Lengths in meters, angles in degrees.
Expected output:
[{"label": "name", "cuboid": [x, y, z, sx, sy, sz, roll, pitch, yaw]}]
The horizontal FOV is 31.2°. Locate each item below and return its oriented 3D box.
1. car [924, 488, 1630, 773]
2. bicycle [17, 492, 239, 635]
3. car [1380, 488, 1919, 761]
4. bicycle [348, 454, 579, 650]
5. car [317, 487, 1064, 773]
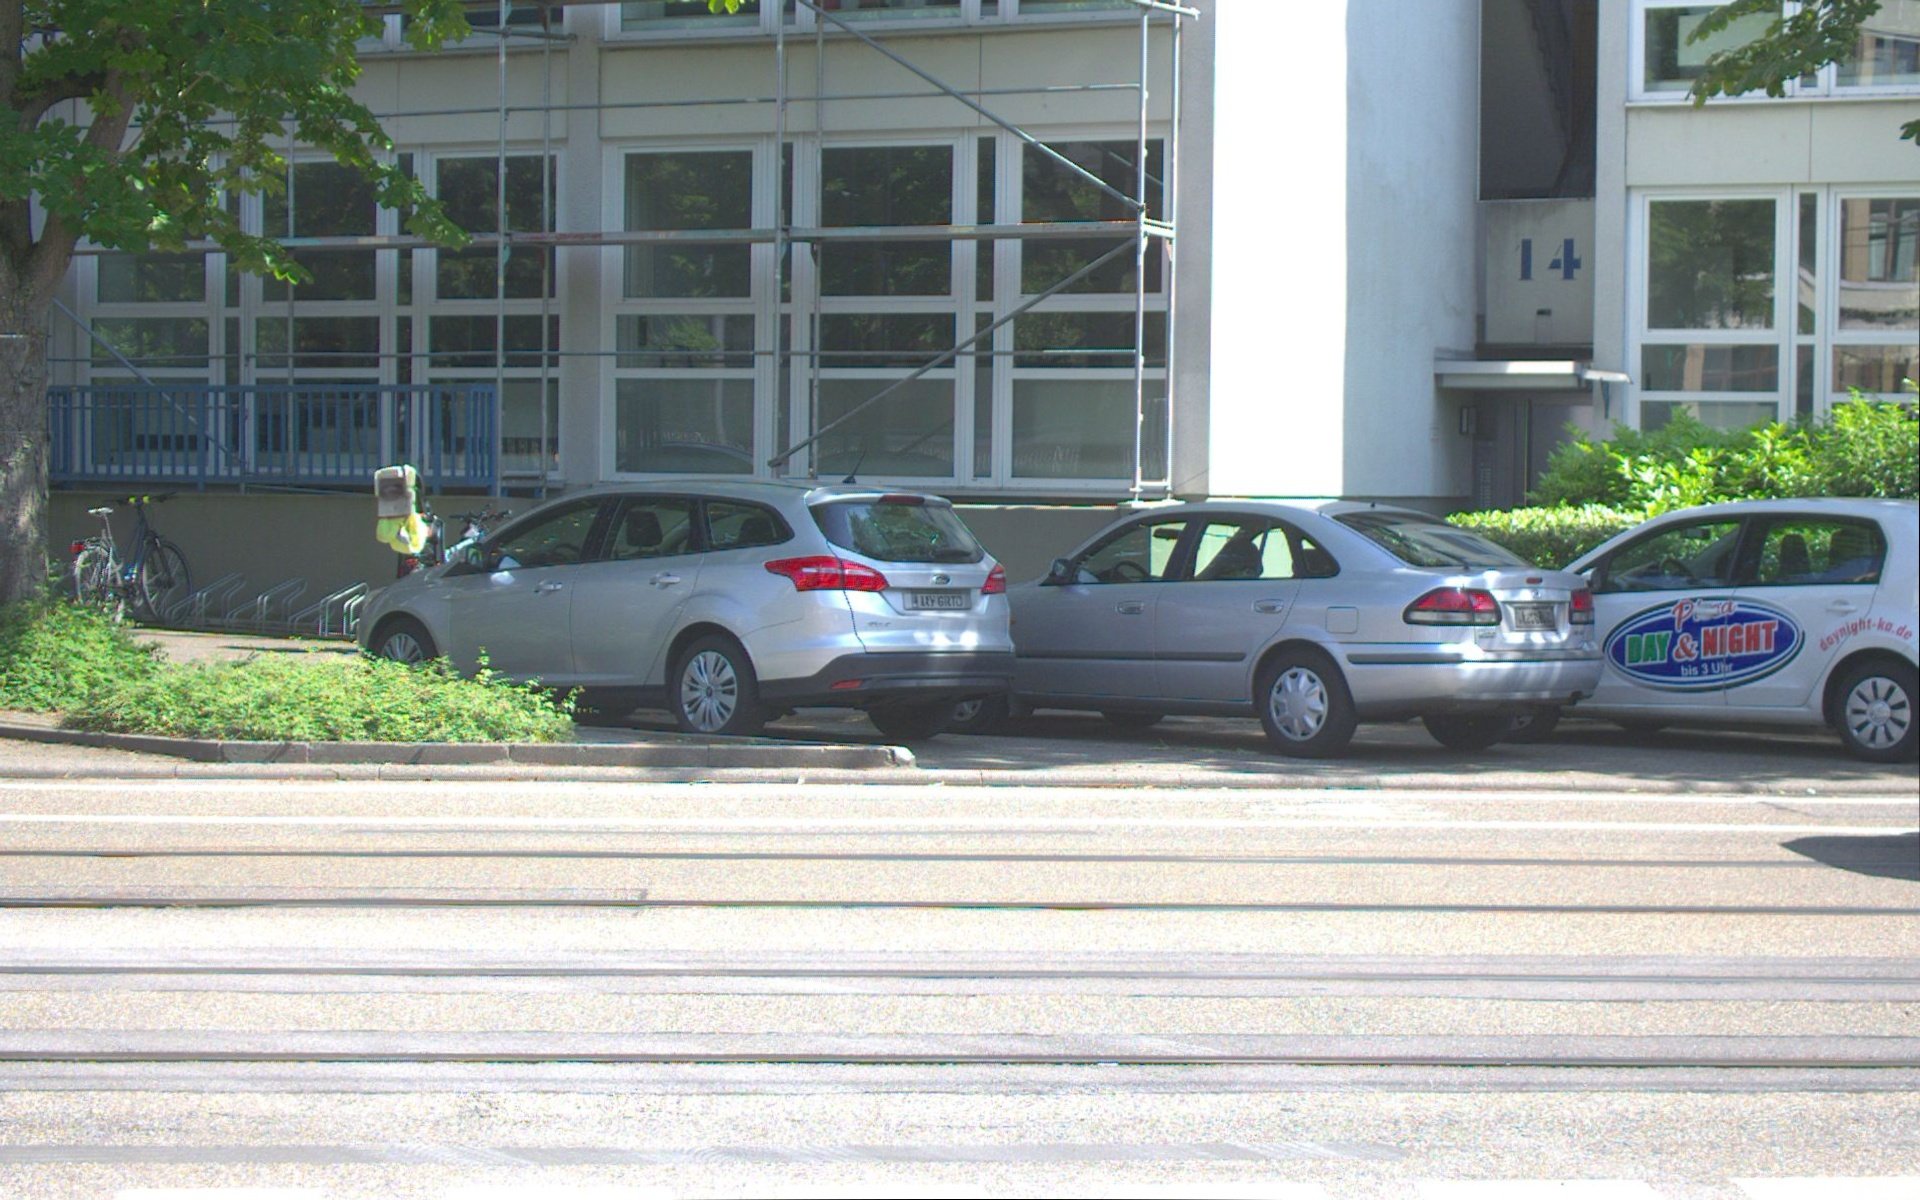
[{"label": "car", "cuboid": [1.758, 0.099, 19.985, 3.942, 1.481, 1.609, 2, 3, 44]}, {"label": "bicycle", "cuboid": [-6.585, -0.315, 27.356, 0.741, 1.082, 2.202, 1, 2, 15]}, {"label": "car", "cuboid": [4.572, 0.097, 20.356, 3.942, 1.481, 1.609, 1, 2, 43]}, {"label": "bicycle", "cuboid": [-3.811, -0.394, 26.559, 0.662, 1.448, 2.087, 1, 2, 28]}, {"label": "car", "cuboid": [-1.663, 0.085, 20.103, 4.432, 1.481, 1.780, 2, 3, 42]}]
